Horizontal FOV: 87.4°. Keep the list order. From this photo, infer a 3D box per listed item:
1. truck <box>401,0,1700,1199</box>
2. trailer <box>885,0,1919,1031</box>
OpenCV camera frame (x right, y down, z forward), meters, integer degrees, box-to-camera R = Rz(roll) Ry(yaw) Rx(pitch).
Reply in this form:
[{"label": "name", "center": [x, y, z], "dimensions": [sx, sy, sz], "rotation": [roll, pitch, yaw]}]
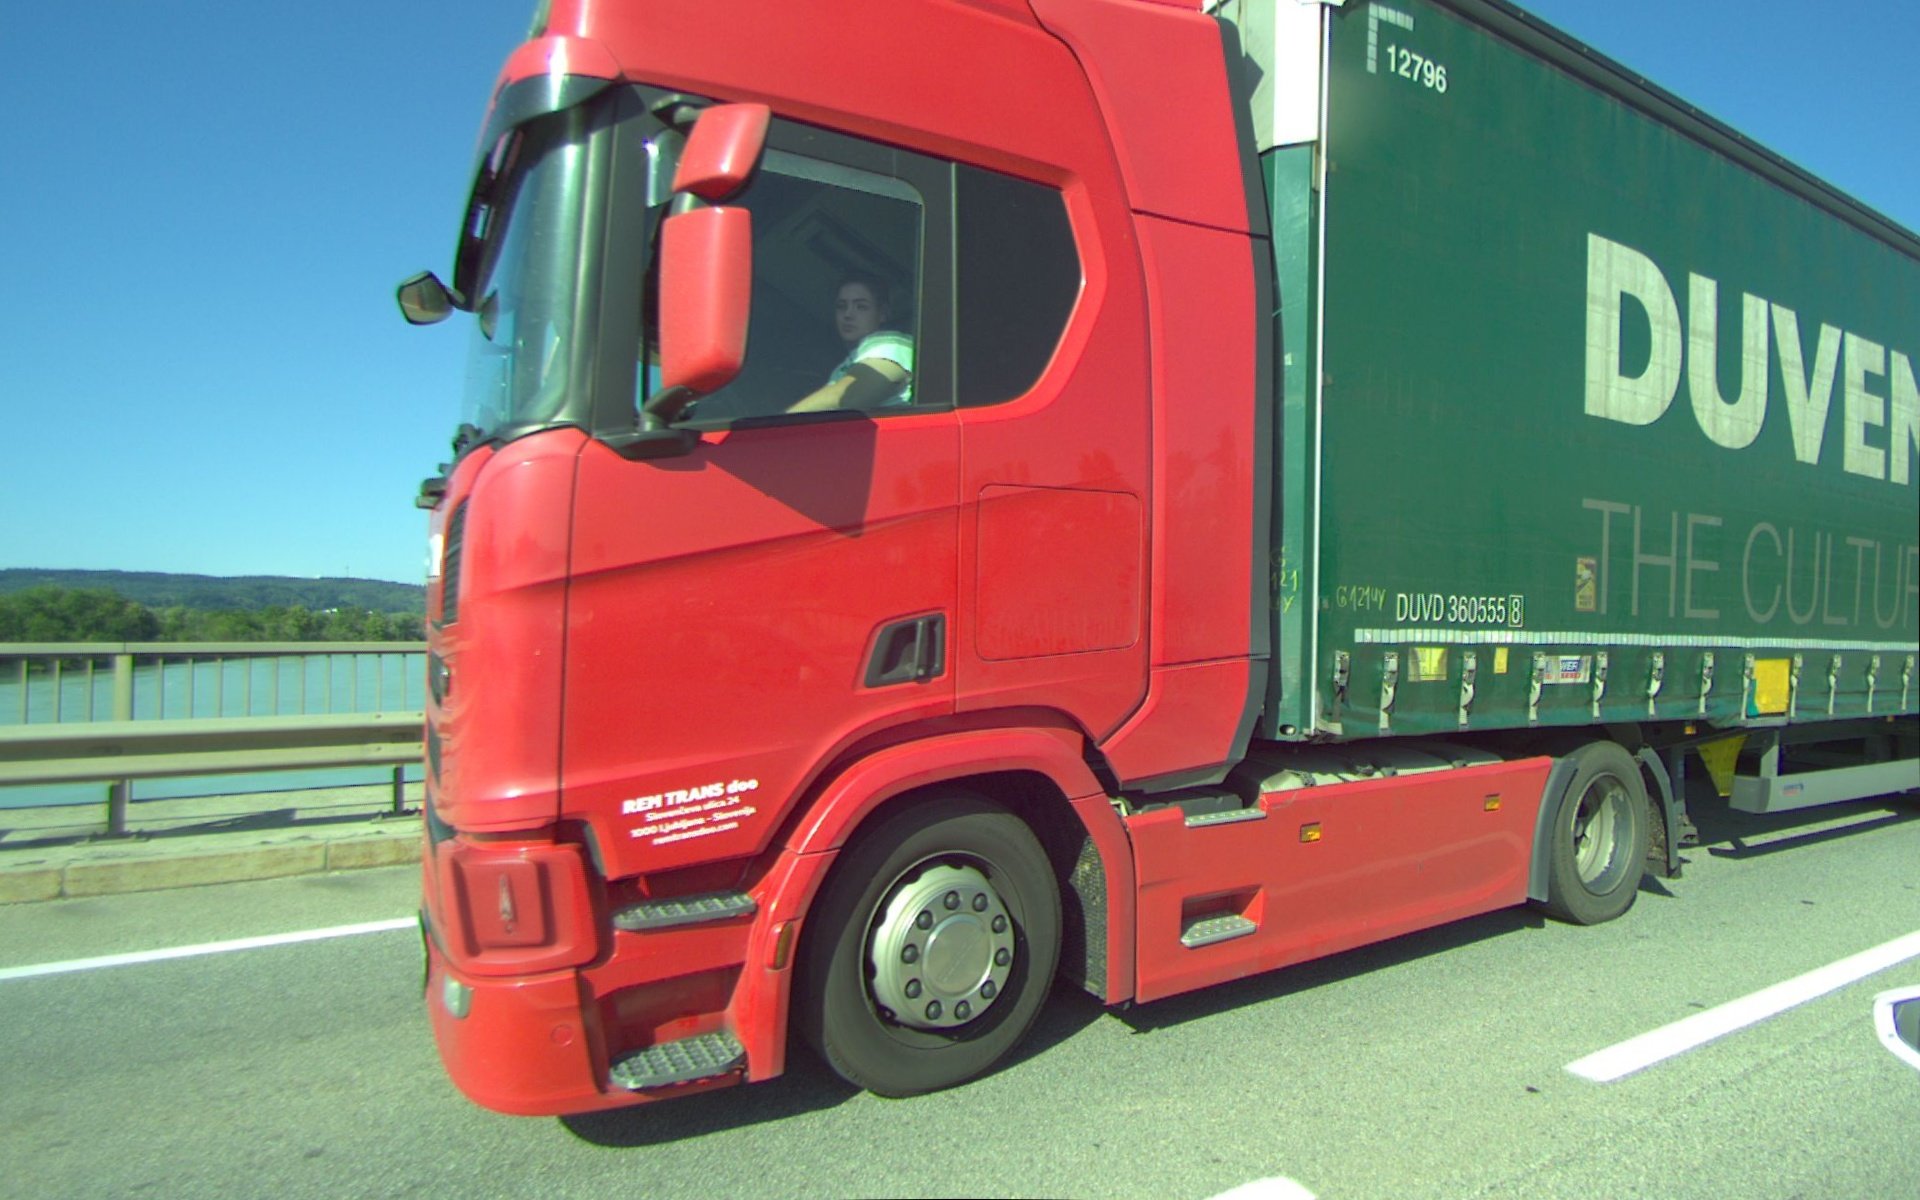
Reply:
[{"label": "truck", "center": [0.565, -0.627, 4.877], "dimensions": [5.646, 4.240, 2.894], "rotation": [1, 0, -31]}, {"label": "trailer", "center": [6.389, -0.557, 8.324], "dimensions": [14.134, 4.359, 2.893], "rotation": [1, 0, -30]}]
